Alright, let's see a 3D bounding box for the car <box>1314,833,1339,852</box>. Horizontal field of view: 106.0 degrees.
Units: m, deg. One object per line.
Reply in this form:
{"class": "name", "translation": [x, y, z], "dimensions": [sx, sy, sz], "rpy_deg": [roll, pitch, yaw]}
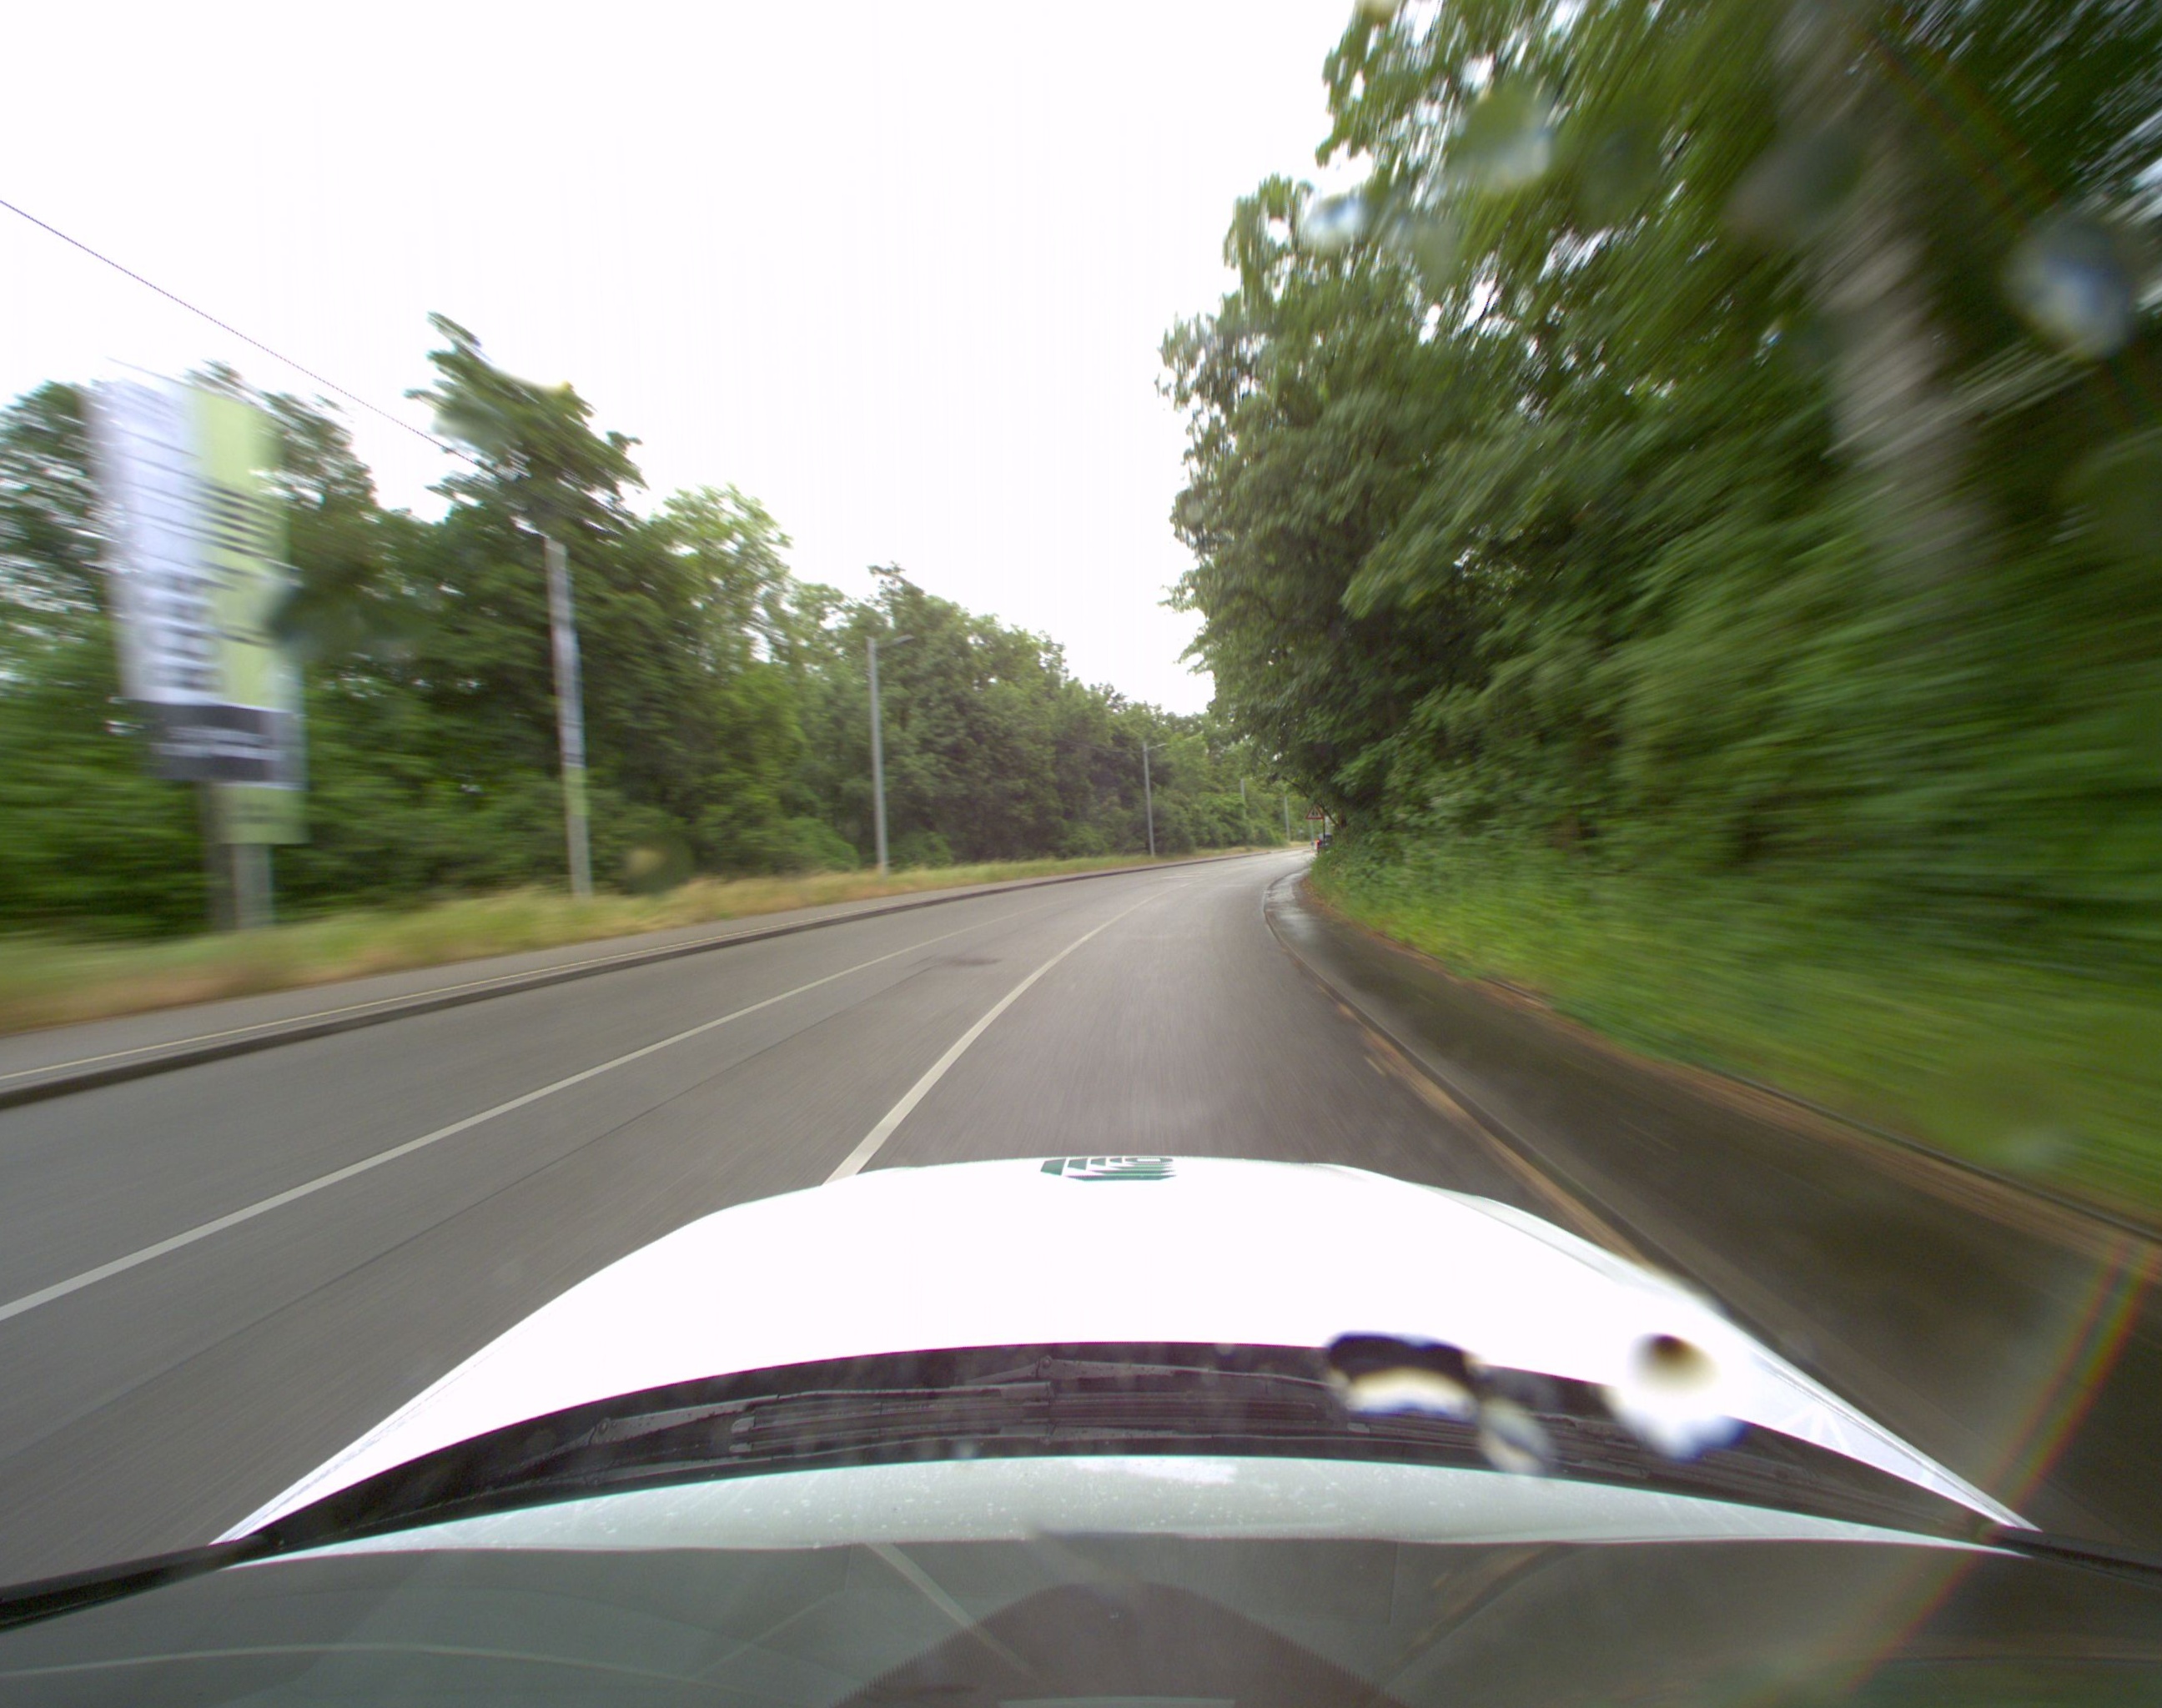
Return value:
{"class": "car", "translation": [22.280, -1.042, 73.877], "dimensions": [1.653, 1.593, 3.703], "rpy_deg": [-3, 0, 23]}
